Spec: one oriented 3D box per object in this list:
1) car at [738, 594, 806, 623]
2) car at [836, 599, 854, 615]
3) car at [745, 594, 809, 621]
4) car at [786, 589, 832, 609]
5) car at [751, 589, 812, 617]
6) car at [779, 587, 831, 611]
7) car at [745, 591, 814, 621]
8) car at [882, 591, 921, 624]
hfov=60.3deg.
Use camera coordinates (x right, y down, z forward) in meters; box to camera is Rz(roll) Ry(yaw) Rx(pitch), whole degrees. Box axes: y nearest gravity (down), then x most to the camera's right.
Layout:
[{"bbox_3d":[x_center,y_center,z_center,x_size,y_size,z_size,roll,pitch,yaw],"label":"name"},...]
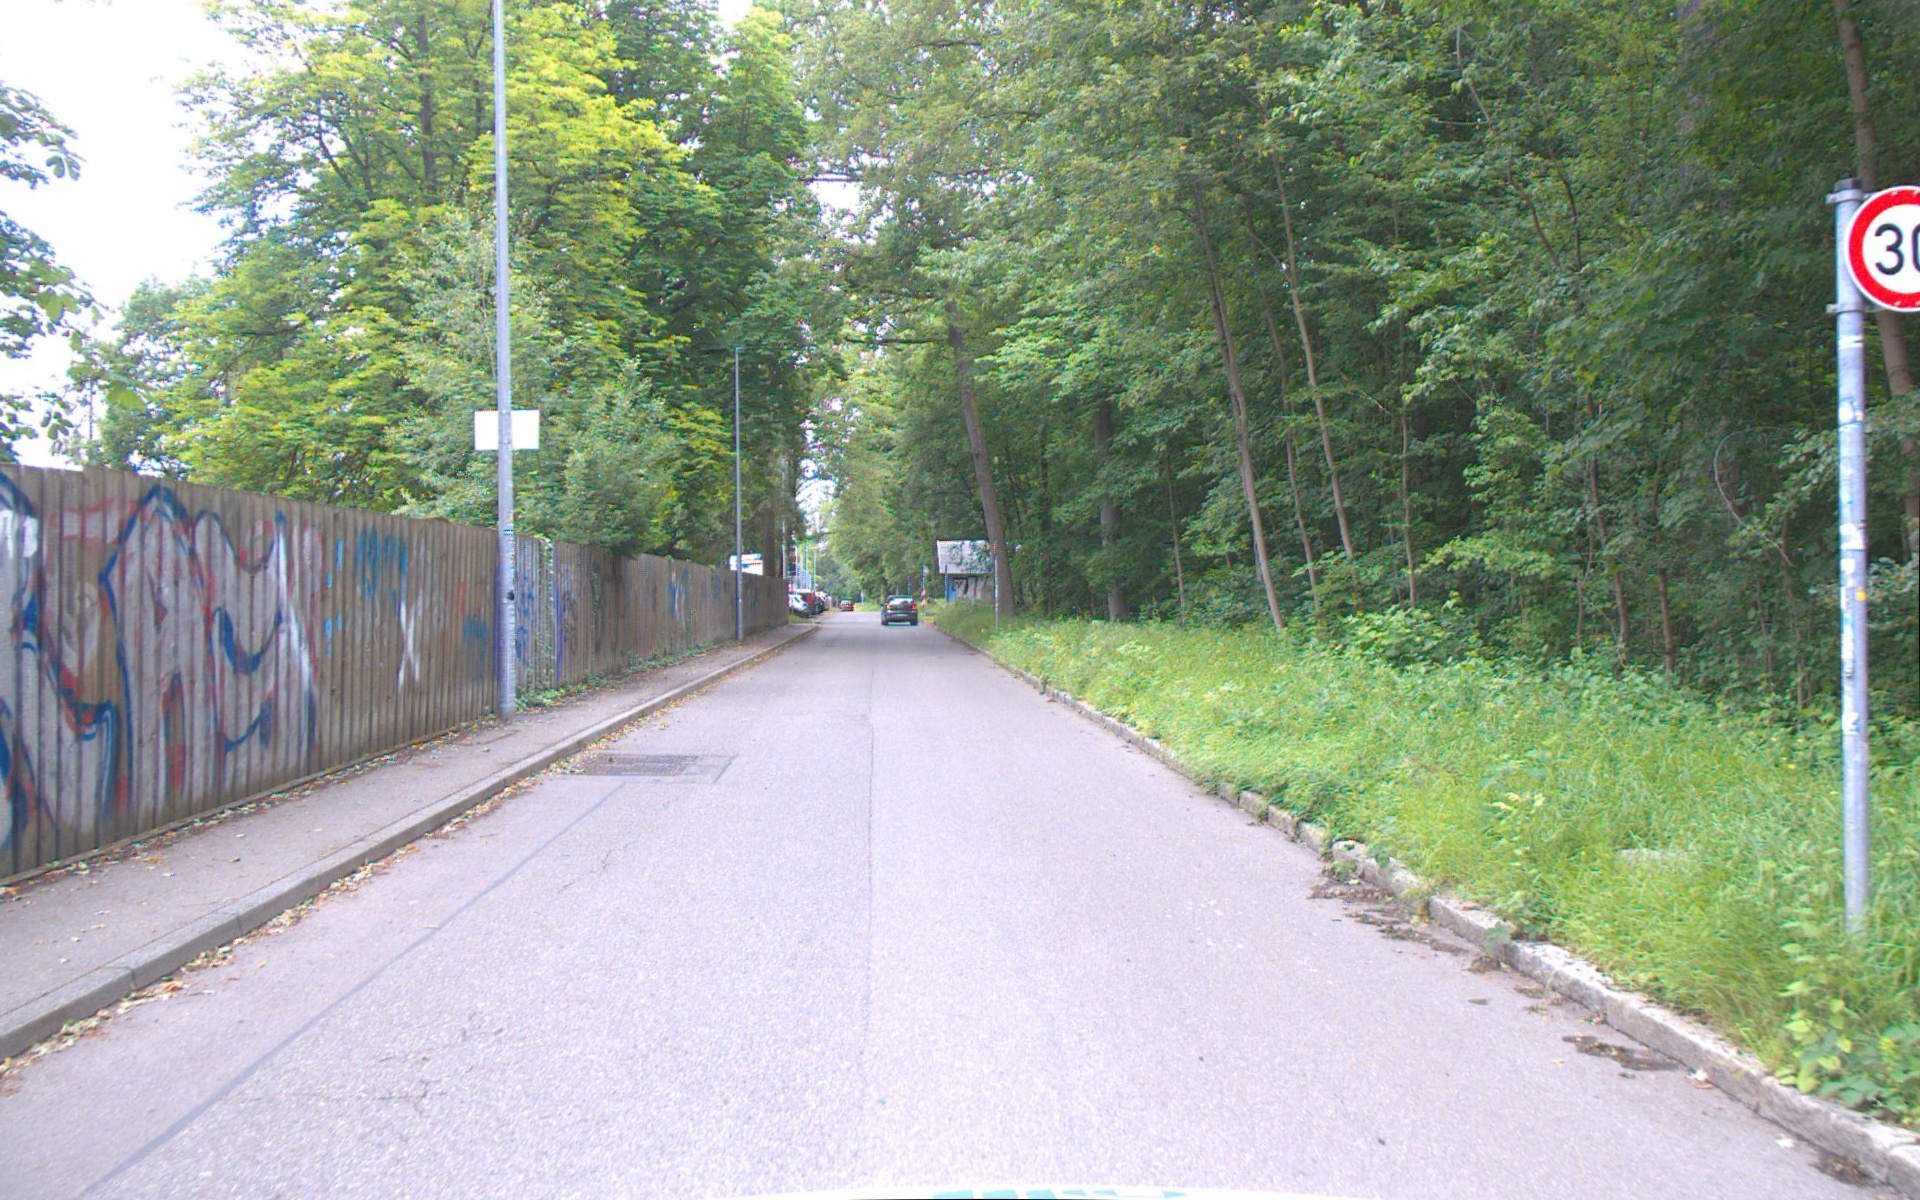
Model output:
[{"bbox_3d":[-11.172,0.503,98.404,3.911,1.601,1.997,-1,0,-7],"label":"car"},{"bbox_3d":[-15.192,0.968,218.653,1.956,2.049,3.992,-1,0,-8],"label":"car"},{"bbox_3d":[-11.490,0.455,104.016,3.911,1.601,1.997,-1,0,-7],"label":"car"},{"bbox_3d":[-13.080,-0.085,143.418,3.908,1.624,1.763,-2,-1,-4],"label":"car"},{"bbox_3d":[-11.765,0.176,109.095,3.911,1.780,1.997,-1,0,-7],"label":"car"},{"bbox_3d":[-11.982,-0.079,127.797,3.908,1.624,1.763,-2,-1,-4],"label":"car"},{"bbox_3d":[-10.492,0.344,96.112,3.911,1.601,1.997,-2,0,-7],"label":"car"},{"bbox_3d":[-2.876,0.398,81.512,1.869,1.534,3.998,2,-1,-2],"label":"car"}]
